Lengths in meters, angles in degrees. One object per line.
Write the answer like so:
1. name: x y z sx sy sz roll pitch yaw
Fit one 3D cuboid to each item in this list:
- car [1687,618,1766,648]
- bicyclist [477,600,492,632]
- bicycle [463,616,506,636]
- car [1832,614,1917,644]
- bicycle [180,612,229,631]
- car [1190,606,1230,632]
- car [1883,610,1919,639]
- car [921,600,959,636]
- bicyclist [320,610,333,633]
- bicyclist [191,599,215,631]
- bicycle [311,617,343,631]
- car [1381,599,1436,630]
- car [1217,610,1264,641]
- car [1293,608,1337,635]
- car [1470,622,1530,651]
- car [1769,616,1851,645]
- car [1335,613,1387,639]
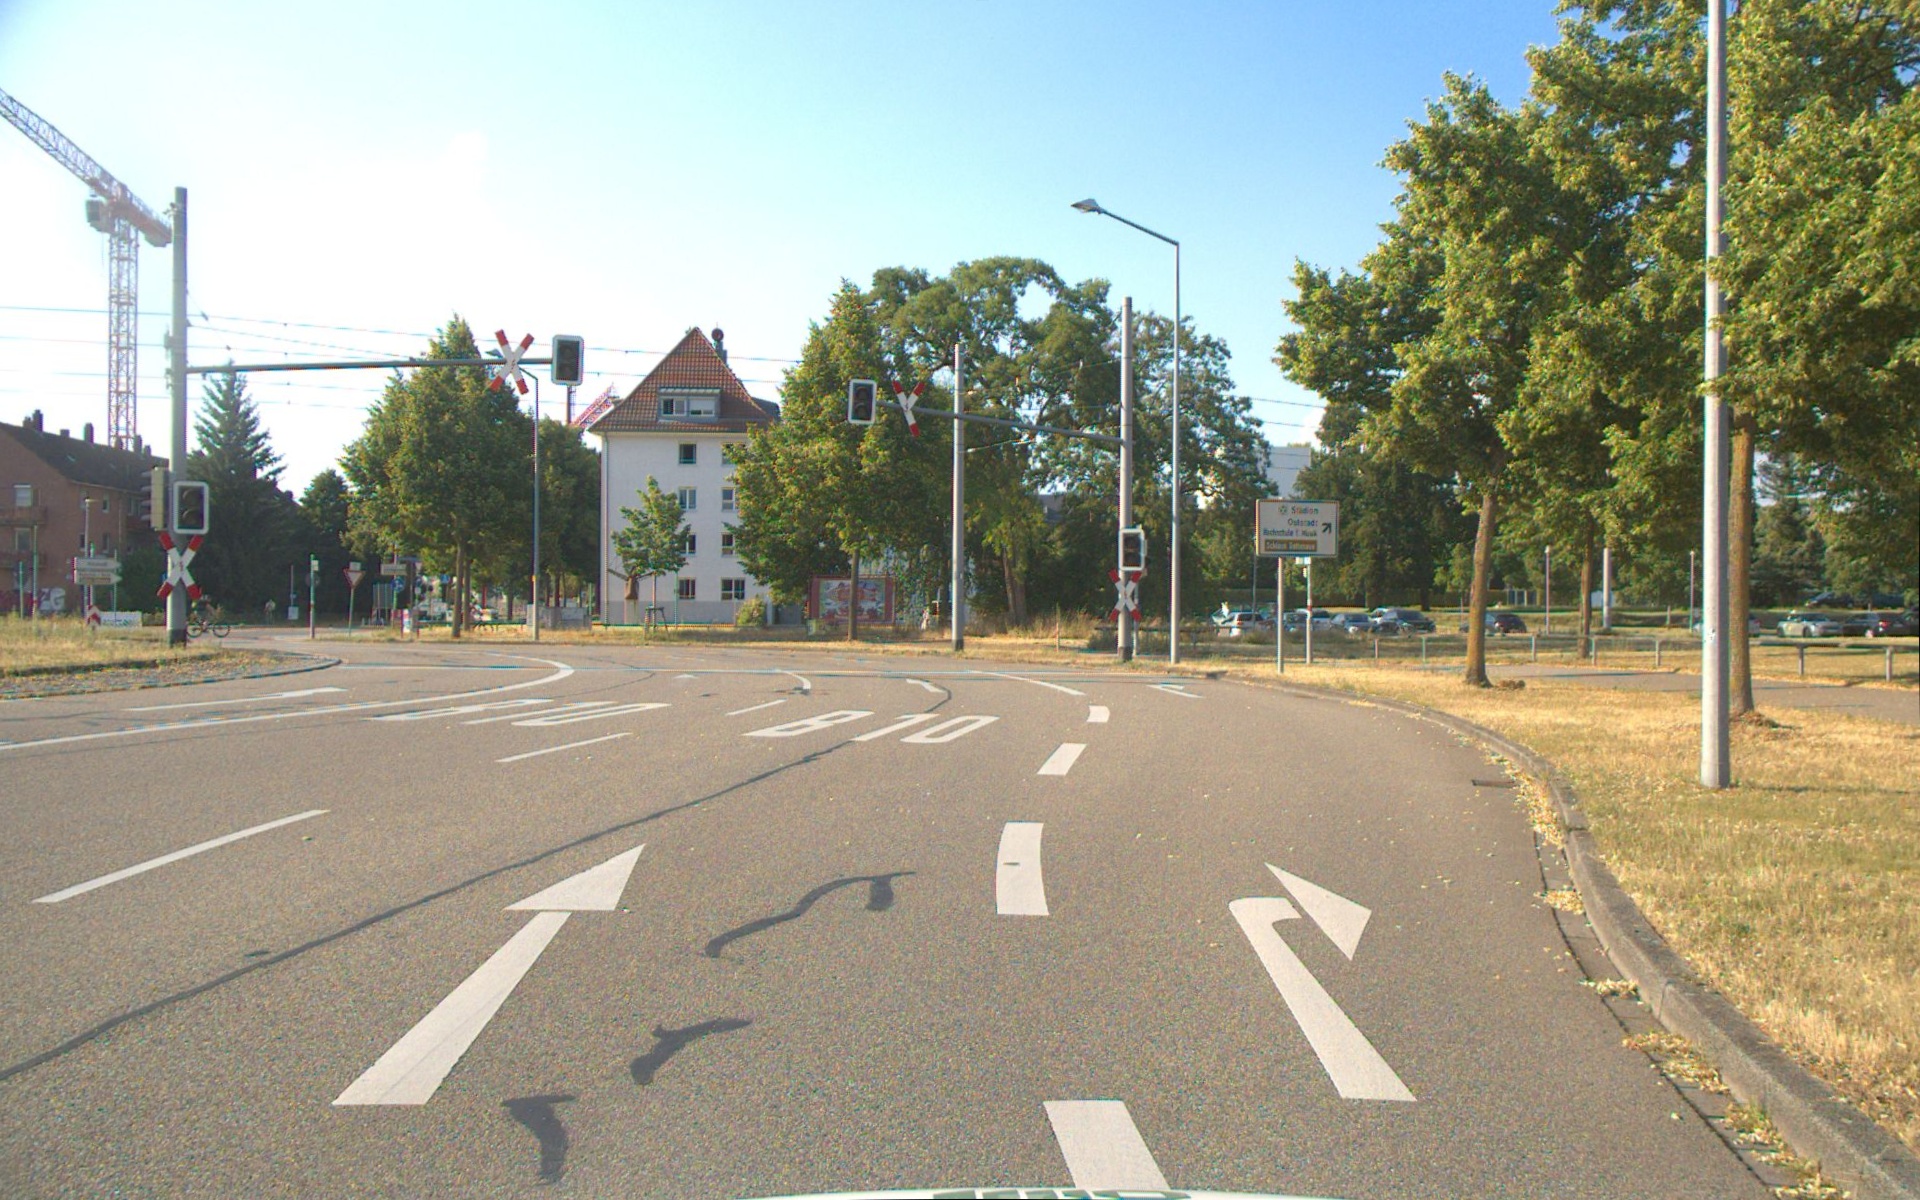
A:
1. car: 37.687 1.591 81.449 1.786 1.427 3.996 0 -1 -5
2. bicyclist: -23.248 0.773 80.840 0.616 1.537 0.414 0 0 -34
3. bicycle: -23.239 1.261 80.854 1.970 0.934 0.425 0 0 -35
4. car: 45.212 1.419 81.831 1.786 1.427 3.996 0 -1 -5
5. bicycle: -33.990 0.948 74.470 1.970 0.839 0.425 0 0 -35
6. car: 13.847 1.054 91.776 1.568 1.426 3.968 0 -1 0
7. car: 47.913 1.209 82.029 1.786 1.427 3.996 0 -1 -5
8. car: -0.914 0.837 77.692 1.735 1.646 3.968 0 -1 0
9. bicyclist: -44.903 1.507 117.233 0.878 1.589 0.656 0 -1 -20
10. bicyclist: -34.079 0.662 74.447 0.889 1.421 0.519 0 0 -34
11. bicycle: -44.860 1.681 117.191 2.070 0.980 0.594 0 -1 -23
12. car: 21.578 0.707 79.679 1.568 1.426 3.968 0 -1 0
13. car: 13.495 1.211 79.612 1.568 1.426 3.968 0 -1 0
14. car: 19.592 1.185 91.355 1.568 1.426 3.968 0 -1 0
15. car: 26.032 1.738 79.836 1.568 1.333 3.968 0 -1 0
16. car: 42.226 1.505 82.234 1.786 1.427 3.996 0 -1 -5
17. car: 19.330 1.259 79.845 1.568 1.242 3.968 0 -1 0
